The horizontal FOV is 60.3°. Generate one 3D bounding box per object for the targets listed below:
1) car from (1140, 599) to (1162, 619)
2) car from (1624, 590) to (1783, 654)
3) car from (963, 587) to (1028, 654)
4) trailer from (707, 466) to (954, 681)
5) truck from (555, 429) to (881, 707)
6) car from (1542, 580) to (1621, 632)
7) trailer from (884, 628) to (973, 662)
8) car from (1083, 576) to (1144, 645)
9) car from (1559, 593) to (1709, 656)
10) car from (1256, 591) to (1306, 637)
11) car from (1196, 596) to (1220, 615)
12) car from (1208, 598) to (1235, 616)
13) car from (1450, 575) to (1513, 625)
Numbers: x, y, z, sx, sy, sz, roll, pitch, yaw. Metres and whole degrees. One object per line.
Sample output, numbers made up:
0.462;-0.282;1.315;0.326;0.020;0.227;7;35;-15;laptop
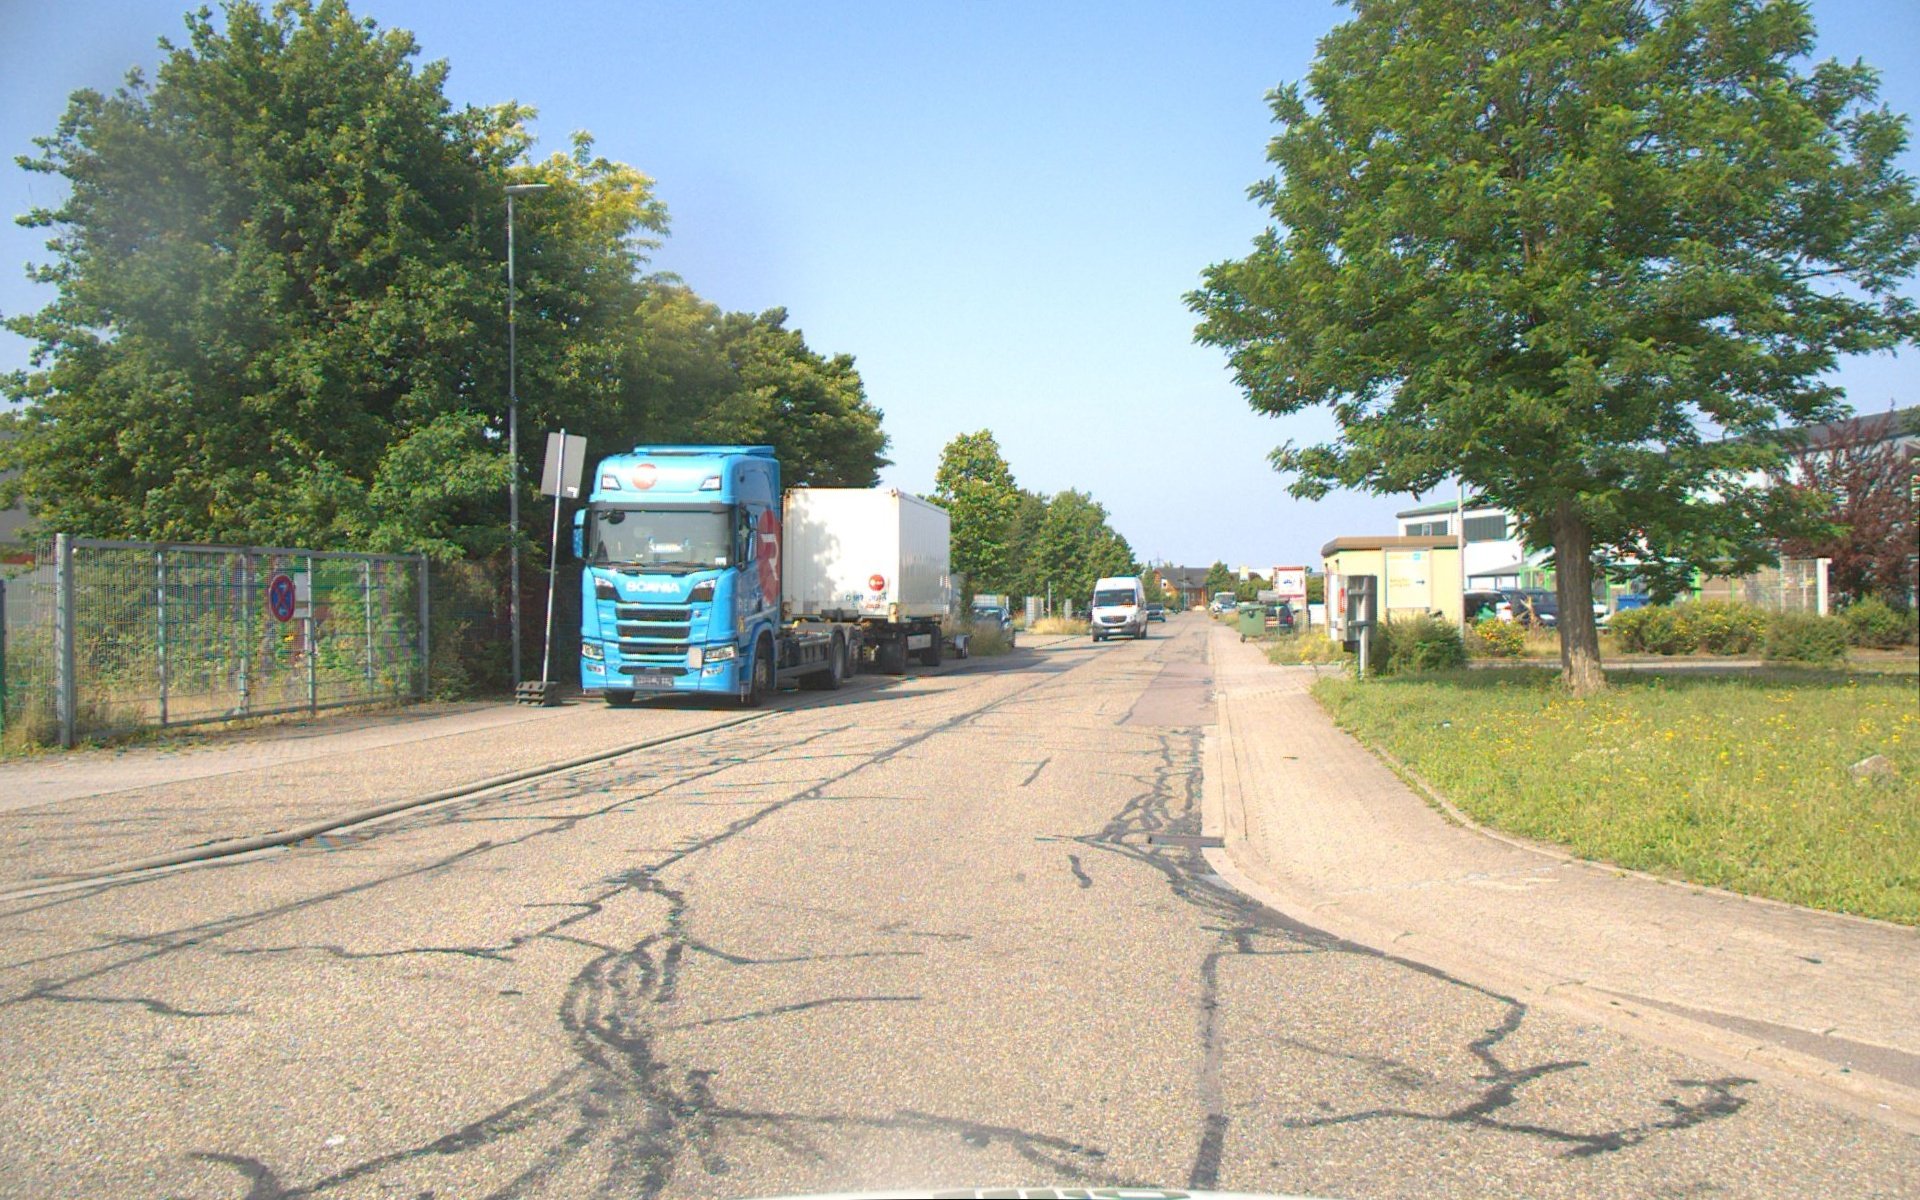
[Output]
16.834;0.803;145.938;1.605;1.691;4.001;1;-1;3;car
17.203;0.505;38.434;1.716;1.397;3.657;1;-1;-7;car
1.115;0.626;53.612;1.953;2.049;3.999;-1;0;-1;car
-2.413;-0.428;36.363;2.771;3.910;12.045;1;-1;8;trailer
-3.659;-0.410;28.111;2.765;3.893;9.680;1;-1;8;truck
21.044;0.227;56.158;1.754;1.669;4.003;1;-1;9;car
-0.825;1.222;45.607;1.856;0.774;4.003;-1;0;8;trailer
6.388;0.449;69.567;2.168;2.733;6.855;1;-1;3;car
15.491;0.548;38.197;1.636;1.353;3.657;1;-1;-7;car
12.830;0.571;66.293;1.754;1.780;4.003;1;-1;8;car
24.961;0.526;166.441;1.735;1.847;3.999;1;-1;-1;car
22.695;0.625;143.692;1.750;1.521;3.744;1;-1;-1;car
18.021;0.025;57.273;1.681;1.646;4.003;1;-1;12;car
